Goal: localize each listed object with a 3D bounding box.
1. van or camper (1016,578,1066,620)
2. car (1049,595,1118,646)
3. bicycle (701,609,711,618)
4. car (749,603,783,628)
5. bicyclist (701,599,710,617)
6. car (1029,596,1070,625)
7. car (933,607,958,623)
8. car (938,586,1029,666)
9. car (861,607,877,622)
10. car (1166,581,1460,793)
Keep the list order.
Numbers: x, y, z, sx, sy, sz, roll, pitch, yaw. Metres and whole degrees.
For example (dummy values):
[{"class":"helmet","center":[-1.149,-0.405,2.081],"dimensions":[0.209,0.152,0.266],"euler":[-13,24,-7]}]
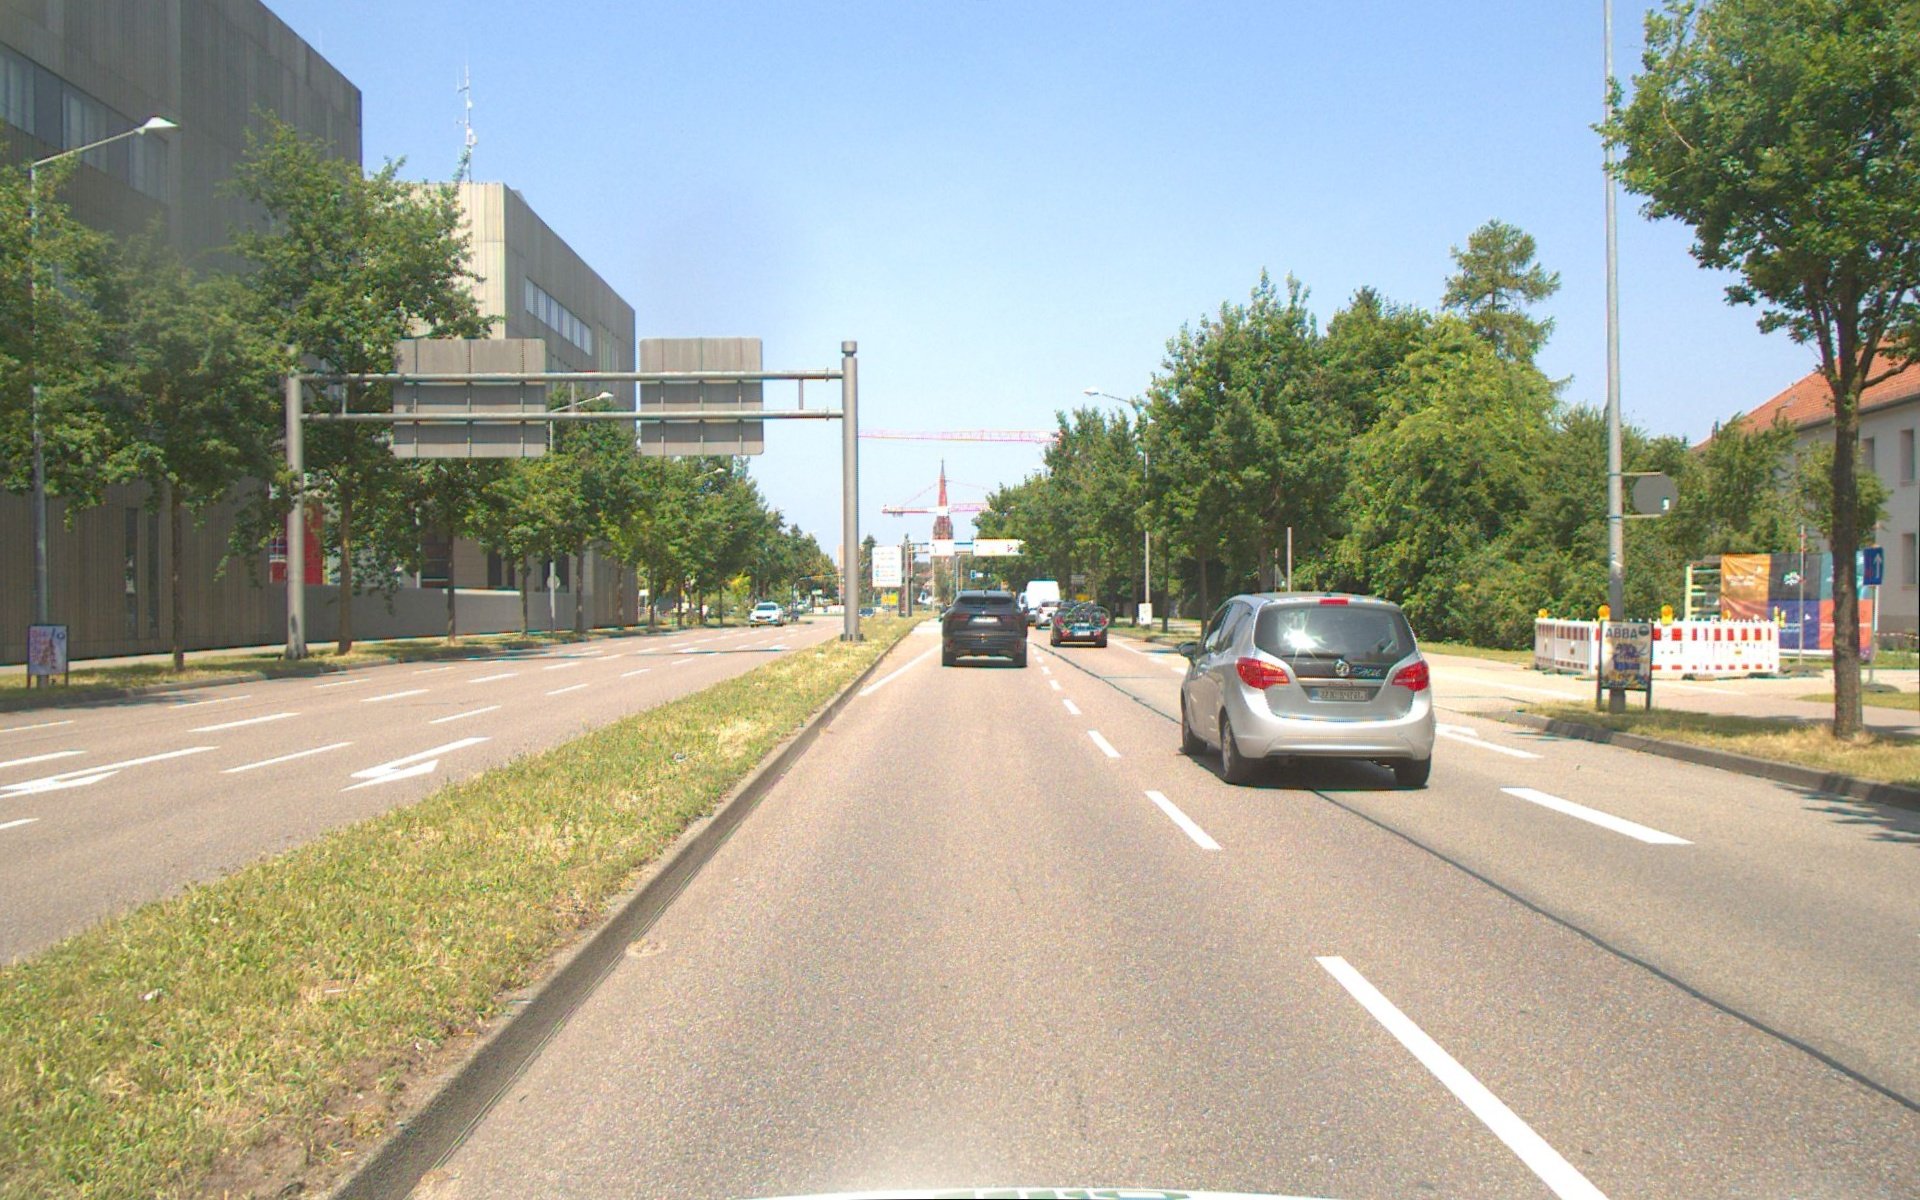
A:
[{"class":"van or camper","center":[4.650,-0.048,95.592],"dimensions":[2.443,2.331,4.918],"euler":[-1,0,-3]},{"class":"car","center":[3.938,0.658,53.284],"dimensions":[1.972,1.544,4.461],"euler":[-1,0,1]},{"class":"bicycle","center":[-22.106,1.177,144.035],"dimensions":[0.471,0.728,1.851],"euler":[-1,-1,2]},{"class":"car","center":[-12.020,0.933,102.709],"dimensions":[1.774,1.452,4.356],"euler":[-2,0,-3]},{"class":"bicyclist","center":[-22.130,0.702,143.938],"dimensions":[0.610,1.515,0.757],"euler":[-1,-1,2]},{"class":"car","center":[4.531,0.528,84.117],"dimensions":[1.621,1.380,4.458],"euler":[-1,0,-3]},{"class":"car","center":[-1.331,1.372,150.694],"dimensions":[1.954,1.344,3.996],"euler":[0,0,-5]},{"class":"car","center":[0.534,0.560,37.550],"dimensions":[1.957,1.719,4.034],"euler":[0,0,1]},{"class":"car","center":[-9.756,1.593,177.626],"dimensions":[1.673,1.497,3.939],"euler":[-2,0,-3]},{"class":"car","center":[3.028,0.677,14.987],"dimensions":[1.756,1.640,3.890],"euler":[-1,0,-1]}]
